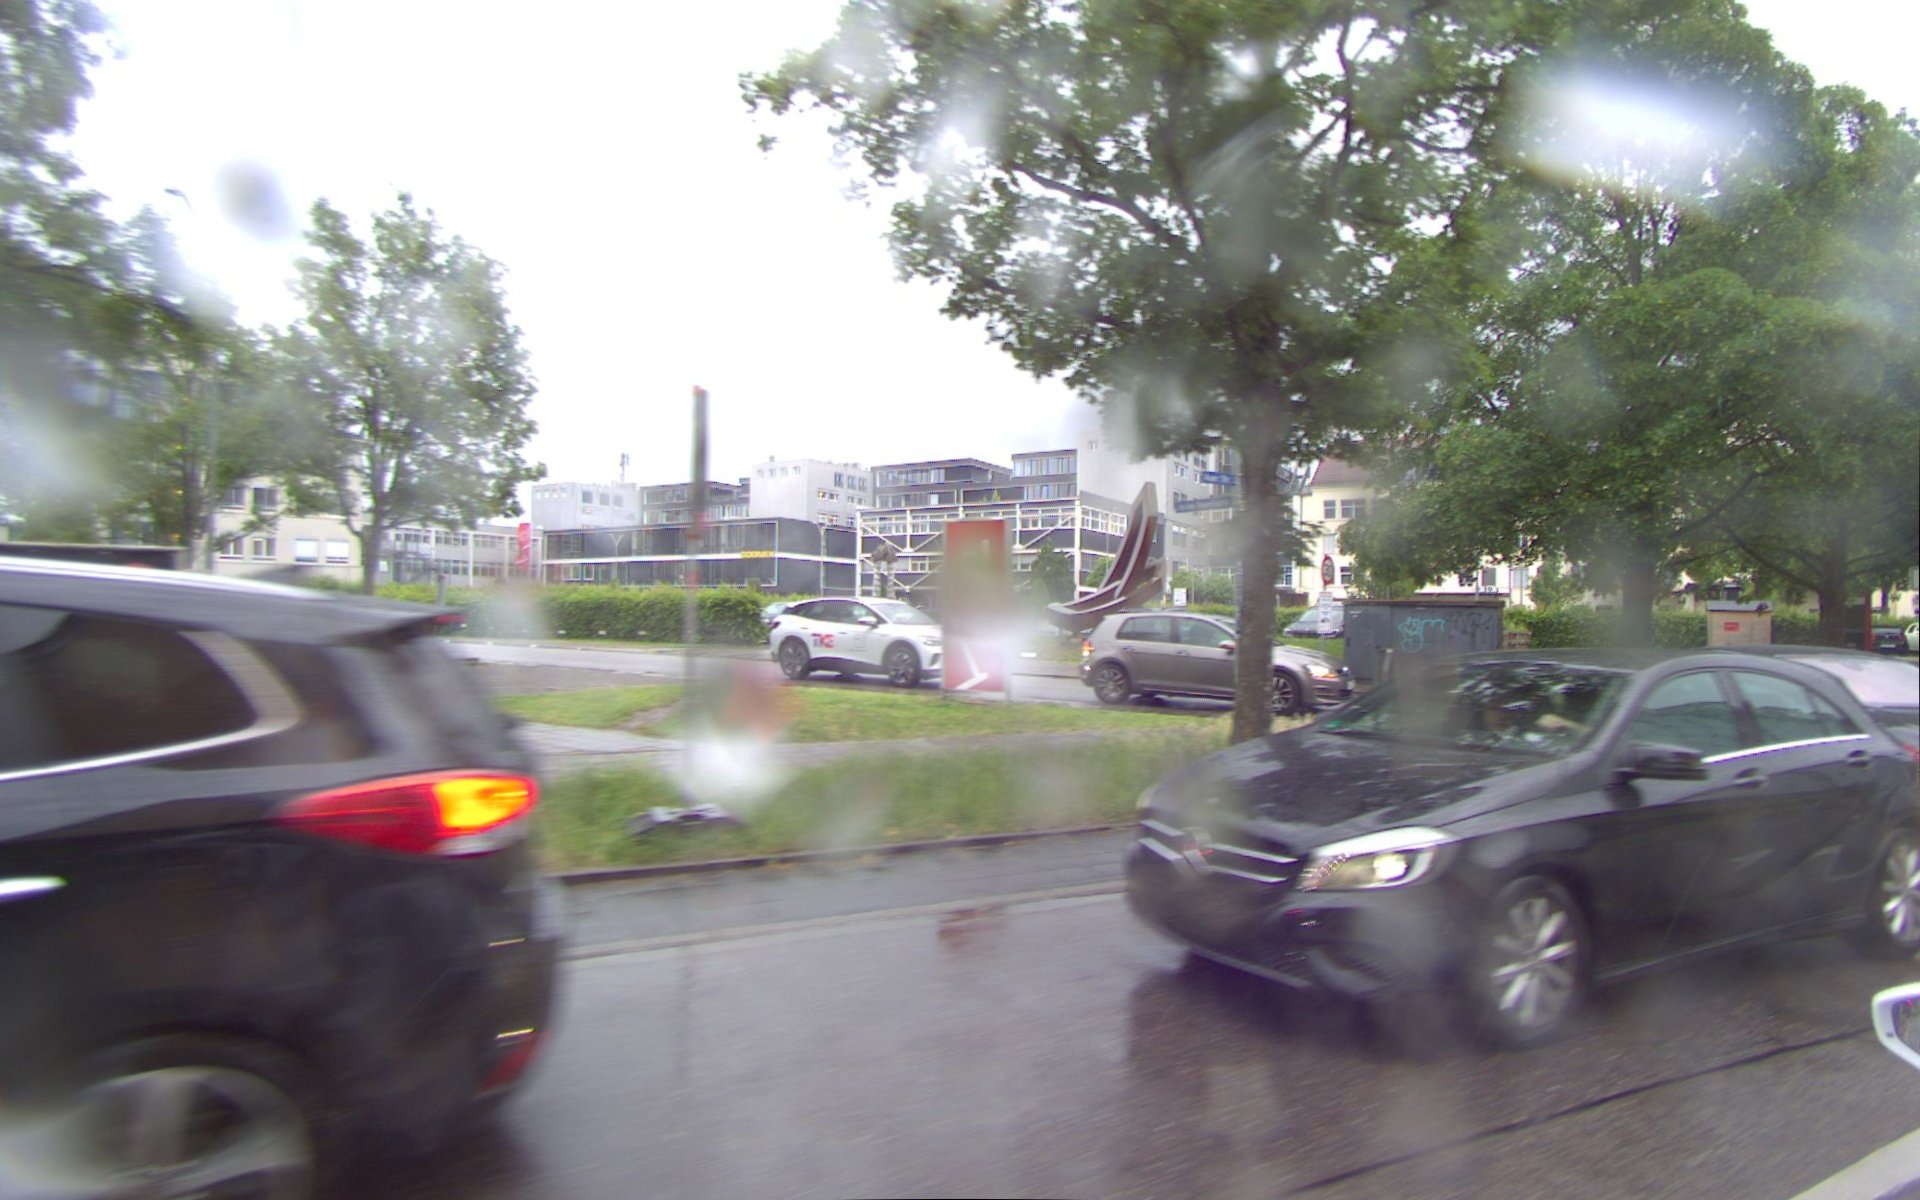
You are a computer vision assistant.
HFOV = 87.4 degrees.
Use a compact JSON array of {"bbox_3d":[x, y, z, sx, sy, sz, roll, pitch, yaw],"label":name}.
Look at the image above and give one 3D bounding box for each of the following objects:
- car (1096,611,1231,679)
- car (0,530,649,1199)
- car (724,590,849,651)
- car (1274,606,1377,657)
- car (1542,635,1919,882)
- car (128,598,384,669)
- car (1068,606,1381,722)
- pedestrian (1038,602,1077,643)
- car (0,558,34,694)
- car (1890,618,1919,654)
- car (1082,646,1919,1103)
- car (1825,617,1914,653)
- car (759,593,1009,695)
[{"bbox_3d":[5.099,1.045,24.711,1.760,1.529,4.287,-1,-1,34],"label":"car"},{"bbox_3d":[-3.264,0.642,2.102,4.739,1.640,1.862,3,-2,-25],"label":"car"},{"bbox_3d":[-6.639,0.783,39.029,1.965,2.180,4.962,1,-1,32],"label":"car"},{"bbox_3d":[12.045,1.011,32.929,1.968,1.547,4.417,1,-1,37],"label":"car"},{"bbox_3d":[7.231,1.083,8.628,2.044,1.473,4.931,0,-1,6],"label":"car"},{"bbox_3d":[-15.177,0.710,21.918,1.596,1.397,4.298,0,-1,32],"label":"car"},{"bbox_3d":[4.051,0.896,15.597,4.266,1.414,2.007,2,0,34],"label":"car"},{"bbox_3d":[4.468,1.028,45.968,1.055,1.864,1.473,0,-1,45],"label":"pedestrian"},{"bbox_3d":[-14.546,0.312,12.559,1.966,1.814,3.990,0,-1,32],"label":"car"},{"bbox_3d":[44.441,1.685,45.938,1.817,1.593,3.995,1,-1,28],"label":"car"},{"bbox_3d":[2.859,0.926,4.812,4.278,1.379,1.722,1,-2,-25],"label":"car"},{"bbox_3d":[42.427,1.654,46.951,1.962,1.578,3.997,1,-2,25],"label":"car"},{"bbox_3d":[-1.535,0.775,19.518,4.570,1.729,2.040,1,-1,34],"label":"car"}]
